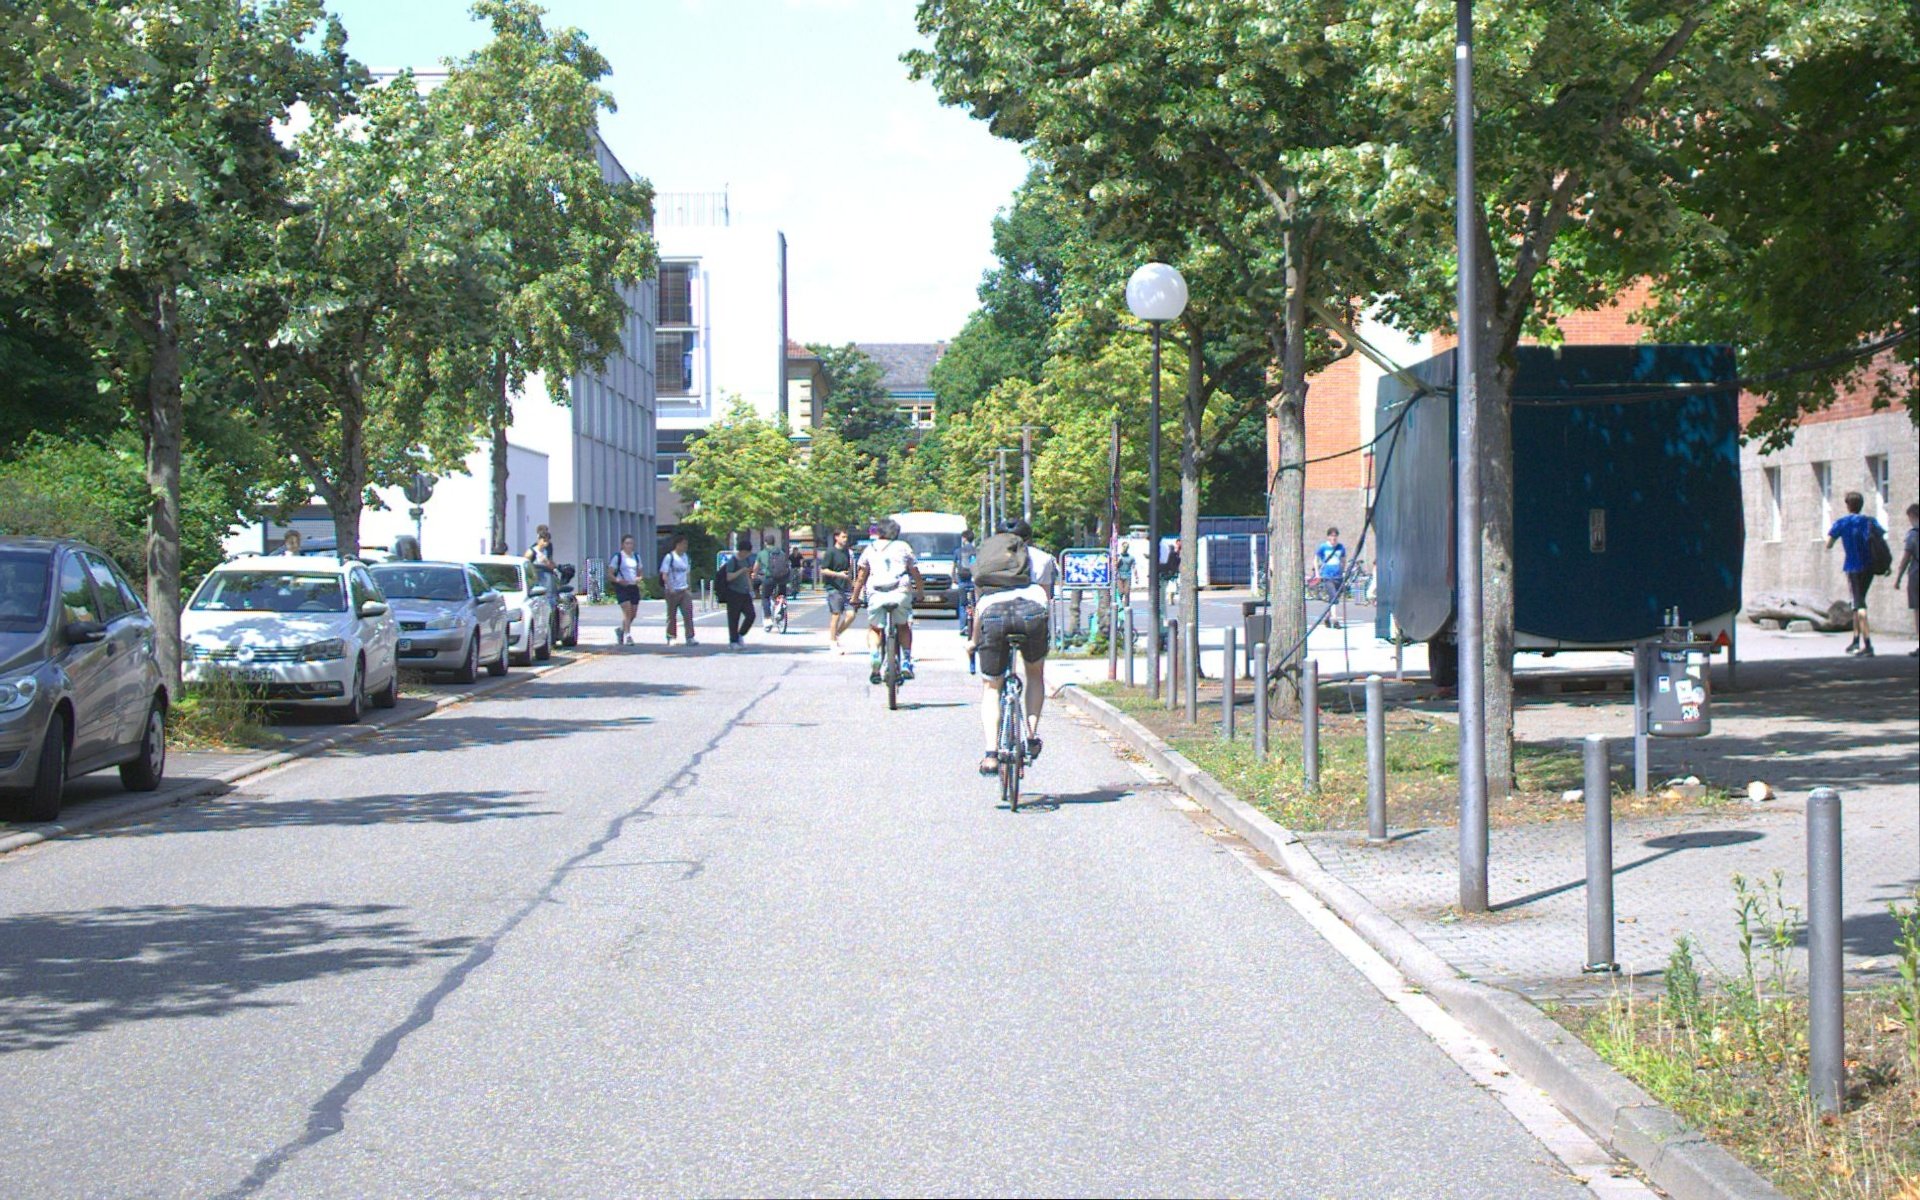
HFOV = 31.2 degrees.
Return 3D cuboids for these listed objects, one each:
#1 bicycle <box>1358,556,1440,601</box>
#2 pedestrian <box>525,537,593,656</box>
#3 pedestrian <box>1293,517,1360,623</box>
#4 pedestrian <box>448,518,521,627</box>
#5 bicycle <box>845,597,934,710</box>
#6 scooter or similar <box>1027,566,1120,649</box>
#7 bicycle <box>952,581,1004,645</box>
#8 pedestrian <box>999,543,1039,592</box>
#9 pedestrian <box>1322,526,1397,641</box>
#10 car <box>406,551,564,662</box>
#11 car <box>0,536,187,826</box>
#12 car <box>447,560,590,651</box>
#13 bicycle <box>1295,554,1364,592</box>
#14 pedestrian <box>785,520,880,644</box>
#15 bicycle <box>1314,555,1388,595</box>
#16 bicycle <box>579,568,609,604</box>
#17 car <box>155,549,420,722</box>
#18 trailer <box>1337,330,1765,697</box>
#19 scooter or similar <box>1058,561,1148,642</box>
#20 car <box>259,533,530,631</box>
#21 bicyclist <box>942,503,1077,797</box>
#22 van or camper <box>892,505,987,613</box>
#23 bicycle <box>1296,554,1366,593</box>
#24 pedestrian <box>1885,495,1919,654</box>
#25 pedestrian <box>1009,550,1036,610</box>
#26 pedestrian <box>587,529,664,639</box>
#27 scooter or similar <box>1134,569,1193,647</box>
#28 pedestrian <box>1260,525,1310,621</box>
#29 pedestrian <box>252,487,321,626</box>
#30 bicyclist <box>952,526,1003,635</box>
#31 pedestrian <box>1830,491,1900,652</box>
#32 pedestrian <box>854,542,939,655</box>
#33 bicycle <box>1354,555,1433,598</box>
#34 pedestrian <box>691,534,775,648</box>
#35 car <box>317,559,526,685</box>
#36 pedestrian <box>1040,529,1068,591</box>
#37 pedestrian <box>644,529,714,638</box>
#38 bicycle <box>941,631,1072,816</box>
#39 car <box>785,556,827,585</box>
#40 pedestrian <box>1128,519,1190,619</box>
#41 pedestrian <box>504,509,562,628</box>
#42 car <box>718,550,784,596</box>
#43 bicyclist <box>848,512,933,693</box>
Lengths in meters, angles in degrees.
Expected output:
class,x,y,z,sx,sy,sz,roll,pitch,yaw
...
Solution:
class,x,y,z,sx,sy,sz,roll,pitch,yaw
bicycle,10.283,-0.510,80.574,1.809,0.981,0.560,-2,1,-1
pedestrian,-6.840,-0.064,58.631,0.827,1.973,0.691,4,2,24
pedestrian,6.425,-0.533,60.216,0.708,1.781,0.753,-7,4,-28
pedestrian,-7.947,-0.471,57.430,0.802,1.766,0.853,4,2,24
bicycle,-0.692,0.516,34.386,0.808,0.998,2.124,-3,2,0
scooter or similar,1.752,0.120,52.944,1.263,1.260,0.649,0,1,31
bicycle,0.286,0.205,55.511,0.808,0.999,2.124,0,0,0
pedestrian,2.515,-1.404,147.294,1.499,1.989,1.646,-4,2,-2
pedestrian,5.965,-0.251,51.371,0.875,1.632,0.949,-5,1,0
car,-6.370,0.064,46.417,1.662,1.407,3.807,1,1,-1
car,-5.866,0.396,20.429,1.757,1.551,4.114,1,1,-3
car,-6.716,0.054,52.619,1.645,1.296,3.928,-1,1,0
bicycle,10.155,-0.746,94.513,1.809,0.981,0.560,-2,1,-1
pedestrian,-1.929,-0.268,52.142,1.115,1.853,0.852,-1,1,42
bicycle,10.195,-0.658,89.679,1.809,0.981,0.560,-2,1,-1
bicycle,-10.209,-0.391,95.924,0.523,0.981,1.632,-2,1,3
car,-6.136,0.282,31.829,1.725,1.451,4.584,1,1,-3
trailer,5.388,-0.780,32.442,2.691,3.041,6.258,-2,1,-2
scooter or similar,2.264,0.025,54.600,1.263,1.260,0.638,0,1,31
car,-10.375,-0.322,63.226,4.507,1.613,1.923,2,0,7
bicyclist,0.302,0.280,20.197,0.717,1.656,1.095,2,0,2
van or camper,-0.453,-0.935,81.002,1.993,2.437,4.569,-1,0,2
bicycle,10.097,-0.728,93.549,1.809,0.981,0.560,-2,1,-1
pedestrian,11.098,-0.308,39.570,0.595,1.790,0.728,-3,2,-4
pedestrian,1.939,-0.621,106.525,0.790,1.853,1.026,-1,1,1
pedestrian,-5.347,-0.254,54.923,0.983,1.733,0.699,2,1,39
scooter or similar,3.098,0.114,52.239,0.649,1.156,1.264,-1,1,15
pedestrian,5.656,-0.471,59.858,0.501,1.624,0.571,-7,4,-28
pedestrian,-8.990,-0.570,45.935,0.708,1.711,1.109,6,-4,-9
bicyclist,0.281,-0.314,55.556,0.808,1.750,0.692,0,0,0
pedestrian,10.308,-0.325,39.163,0.595,1.790,0.407,-3,2,-4
pedestrian,-0.926,-0.028,49.797,0.848,1.589,0.830,-3,2,-44
bicycle,10.586,-0.566,83.957,1.809,0.981,0.560,-2,1,-1
pedestrian,-3.533,-0.140,53.539,0.993,1.714,0.702,3,-1,41
car,-6.245,0.216,40.285,1.725,1.339,4.165,1,1,1
pedestrian,2.864,-1.223,104.631,0.790,1.853,1.026,-1,1,1
pedestrian,-4.534,-0.270,55.428,0.908,1.733,0.677,1,1,37
bicycle,0.290,0.705,20.295,0.706,0.990,1.910,-2,0,2
car,-8.258,-1.591,184.606,1.795,1.525,4.000,-1,1,3
pedestrian,3.512,-0.555,60.703,0.959,1.688,0.704,3,3,9
pedestrian,-7.151,-0.526,57.614,0.616,1.973,0.829,-1,-1,-32
car,-7.165,-0.950,118.014,1.795,1.525,4.000,-1,1,3
bicyclist,-0.689,0.021,34.187,0.771,1.750,0.848,2,1,0
